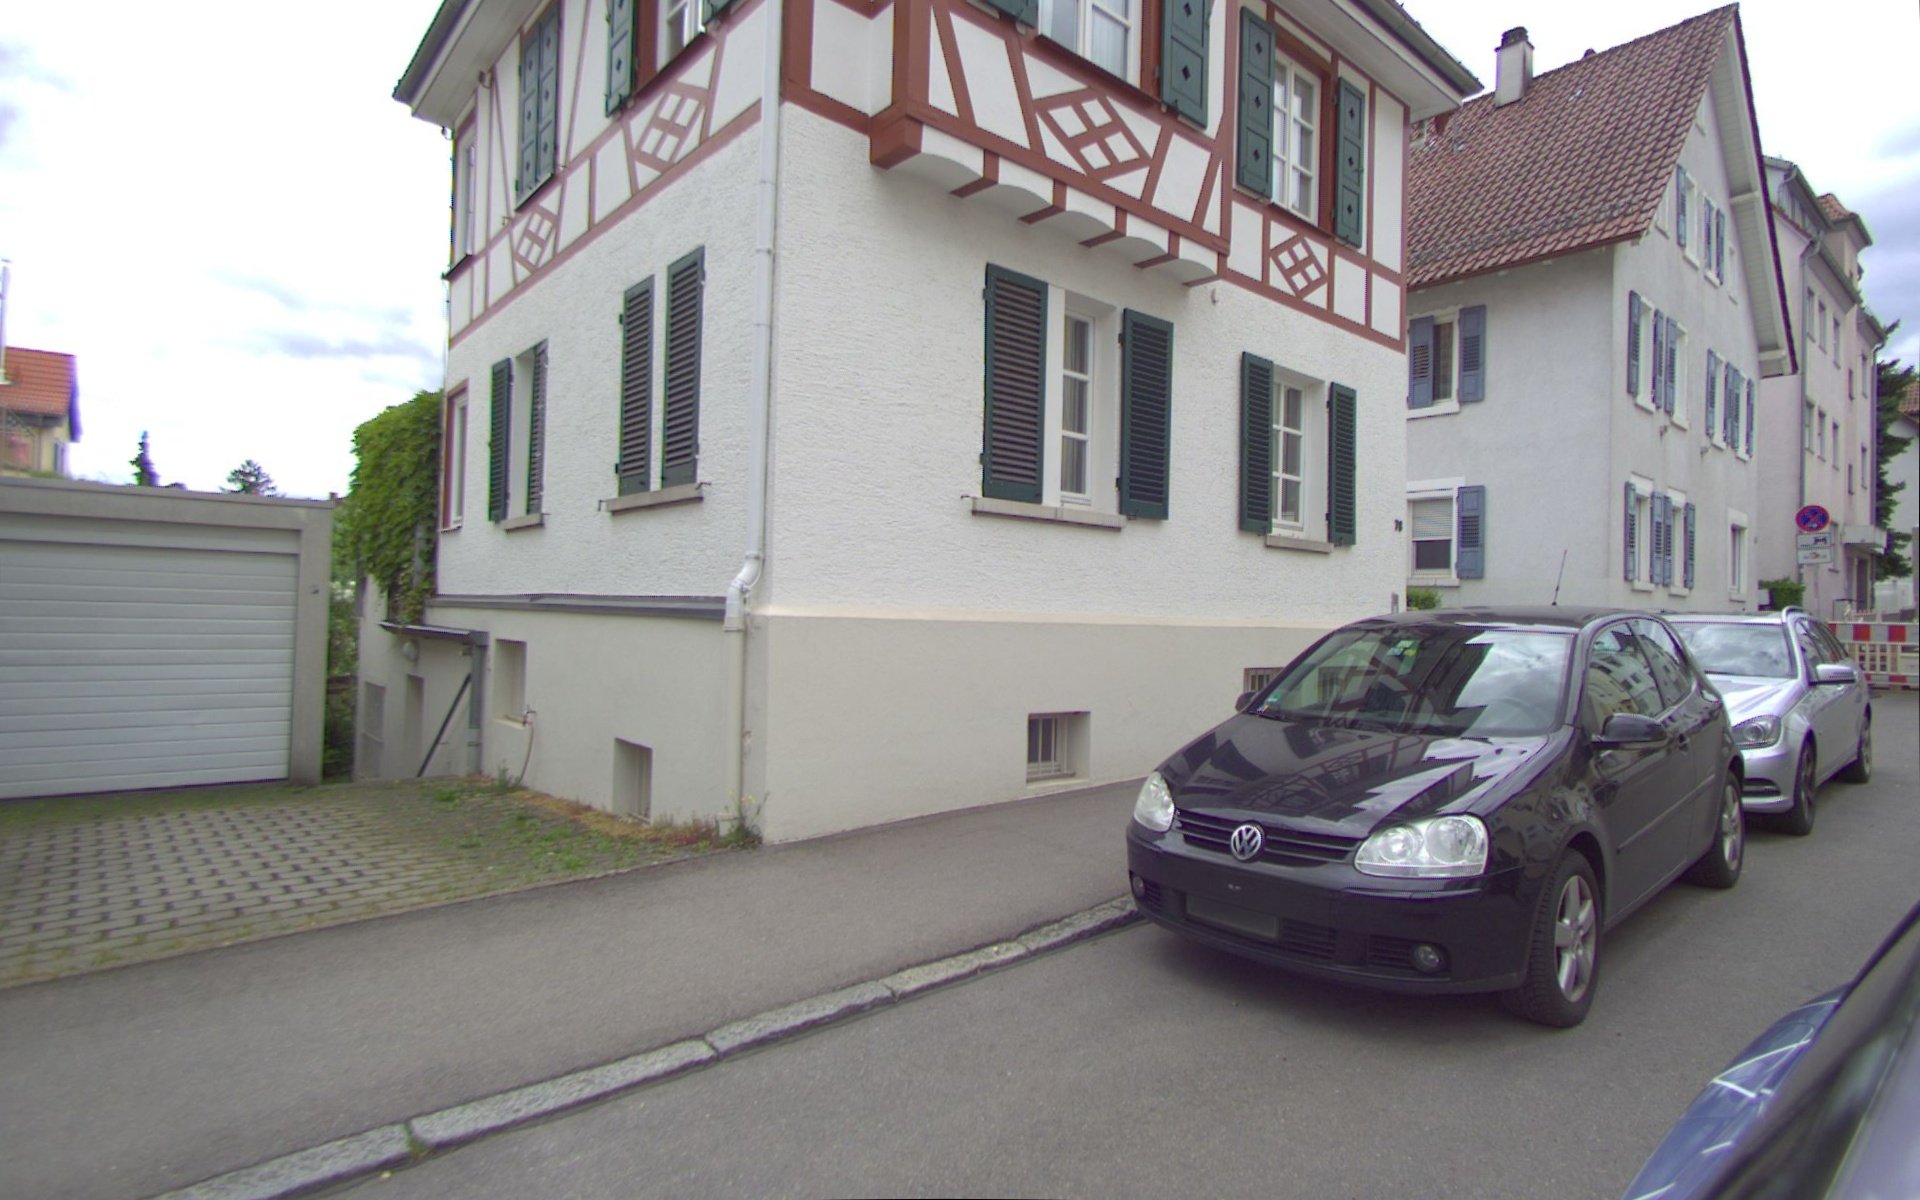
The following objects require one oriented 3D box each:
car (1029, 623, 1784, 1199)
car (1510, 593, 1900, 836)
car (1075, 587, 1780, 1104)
[{"bbox_3d":[2.319,1.024,4.675,3.931,1.742,1.778,3,-2,-43],"label":"car"},{"bbox_3d":[5.959,0.677,7.895,4.163,1.411,1.627,0,-1,-42],"label":"car"},{"bbox_3d":[2.491,0.718,4.882,3.953,1.508,1.607,0,-1,-41],"label":"car"}]
